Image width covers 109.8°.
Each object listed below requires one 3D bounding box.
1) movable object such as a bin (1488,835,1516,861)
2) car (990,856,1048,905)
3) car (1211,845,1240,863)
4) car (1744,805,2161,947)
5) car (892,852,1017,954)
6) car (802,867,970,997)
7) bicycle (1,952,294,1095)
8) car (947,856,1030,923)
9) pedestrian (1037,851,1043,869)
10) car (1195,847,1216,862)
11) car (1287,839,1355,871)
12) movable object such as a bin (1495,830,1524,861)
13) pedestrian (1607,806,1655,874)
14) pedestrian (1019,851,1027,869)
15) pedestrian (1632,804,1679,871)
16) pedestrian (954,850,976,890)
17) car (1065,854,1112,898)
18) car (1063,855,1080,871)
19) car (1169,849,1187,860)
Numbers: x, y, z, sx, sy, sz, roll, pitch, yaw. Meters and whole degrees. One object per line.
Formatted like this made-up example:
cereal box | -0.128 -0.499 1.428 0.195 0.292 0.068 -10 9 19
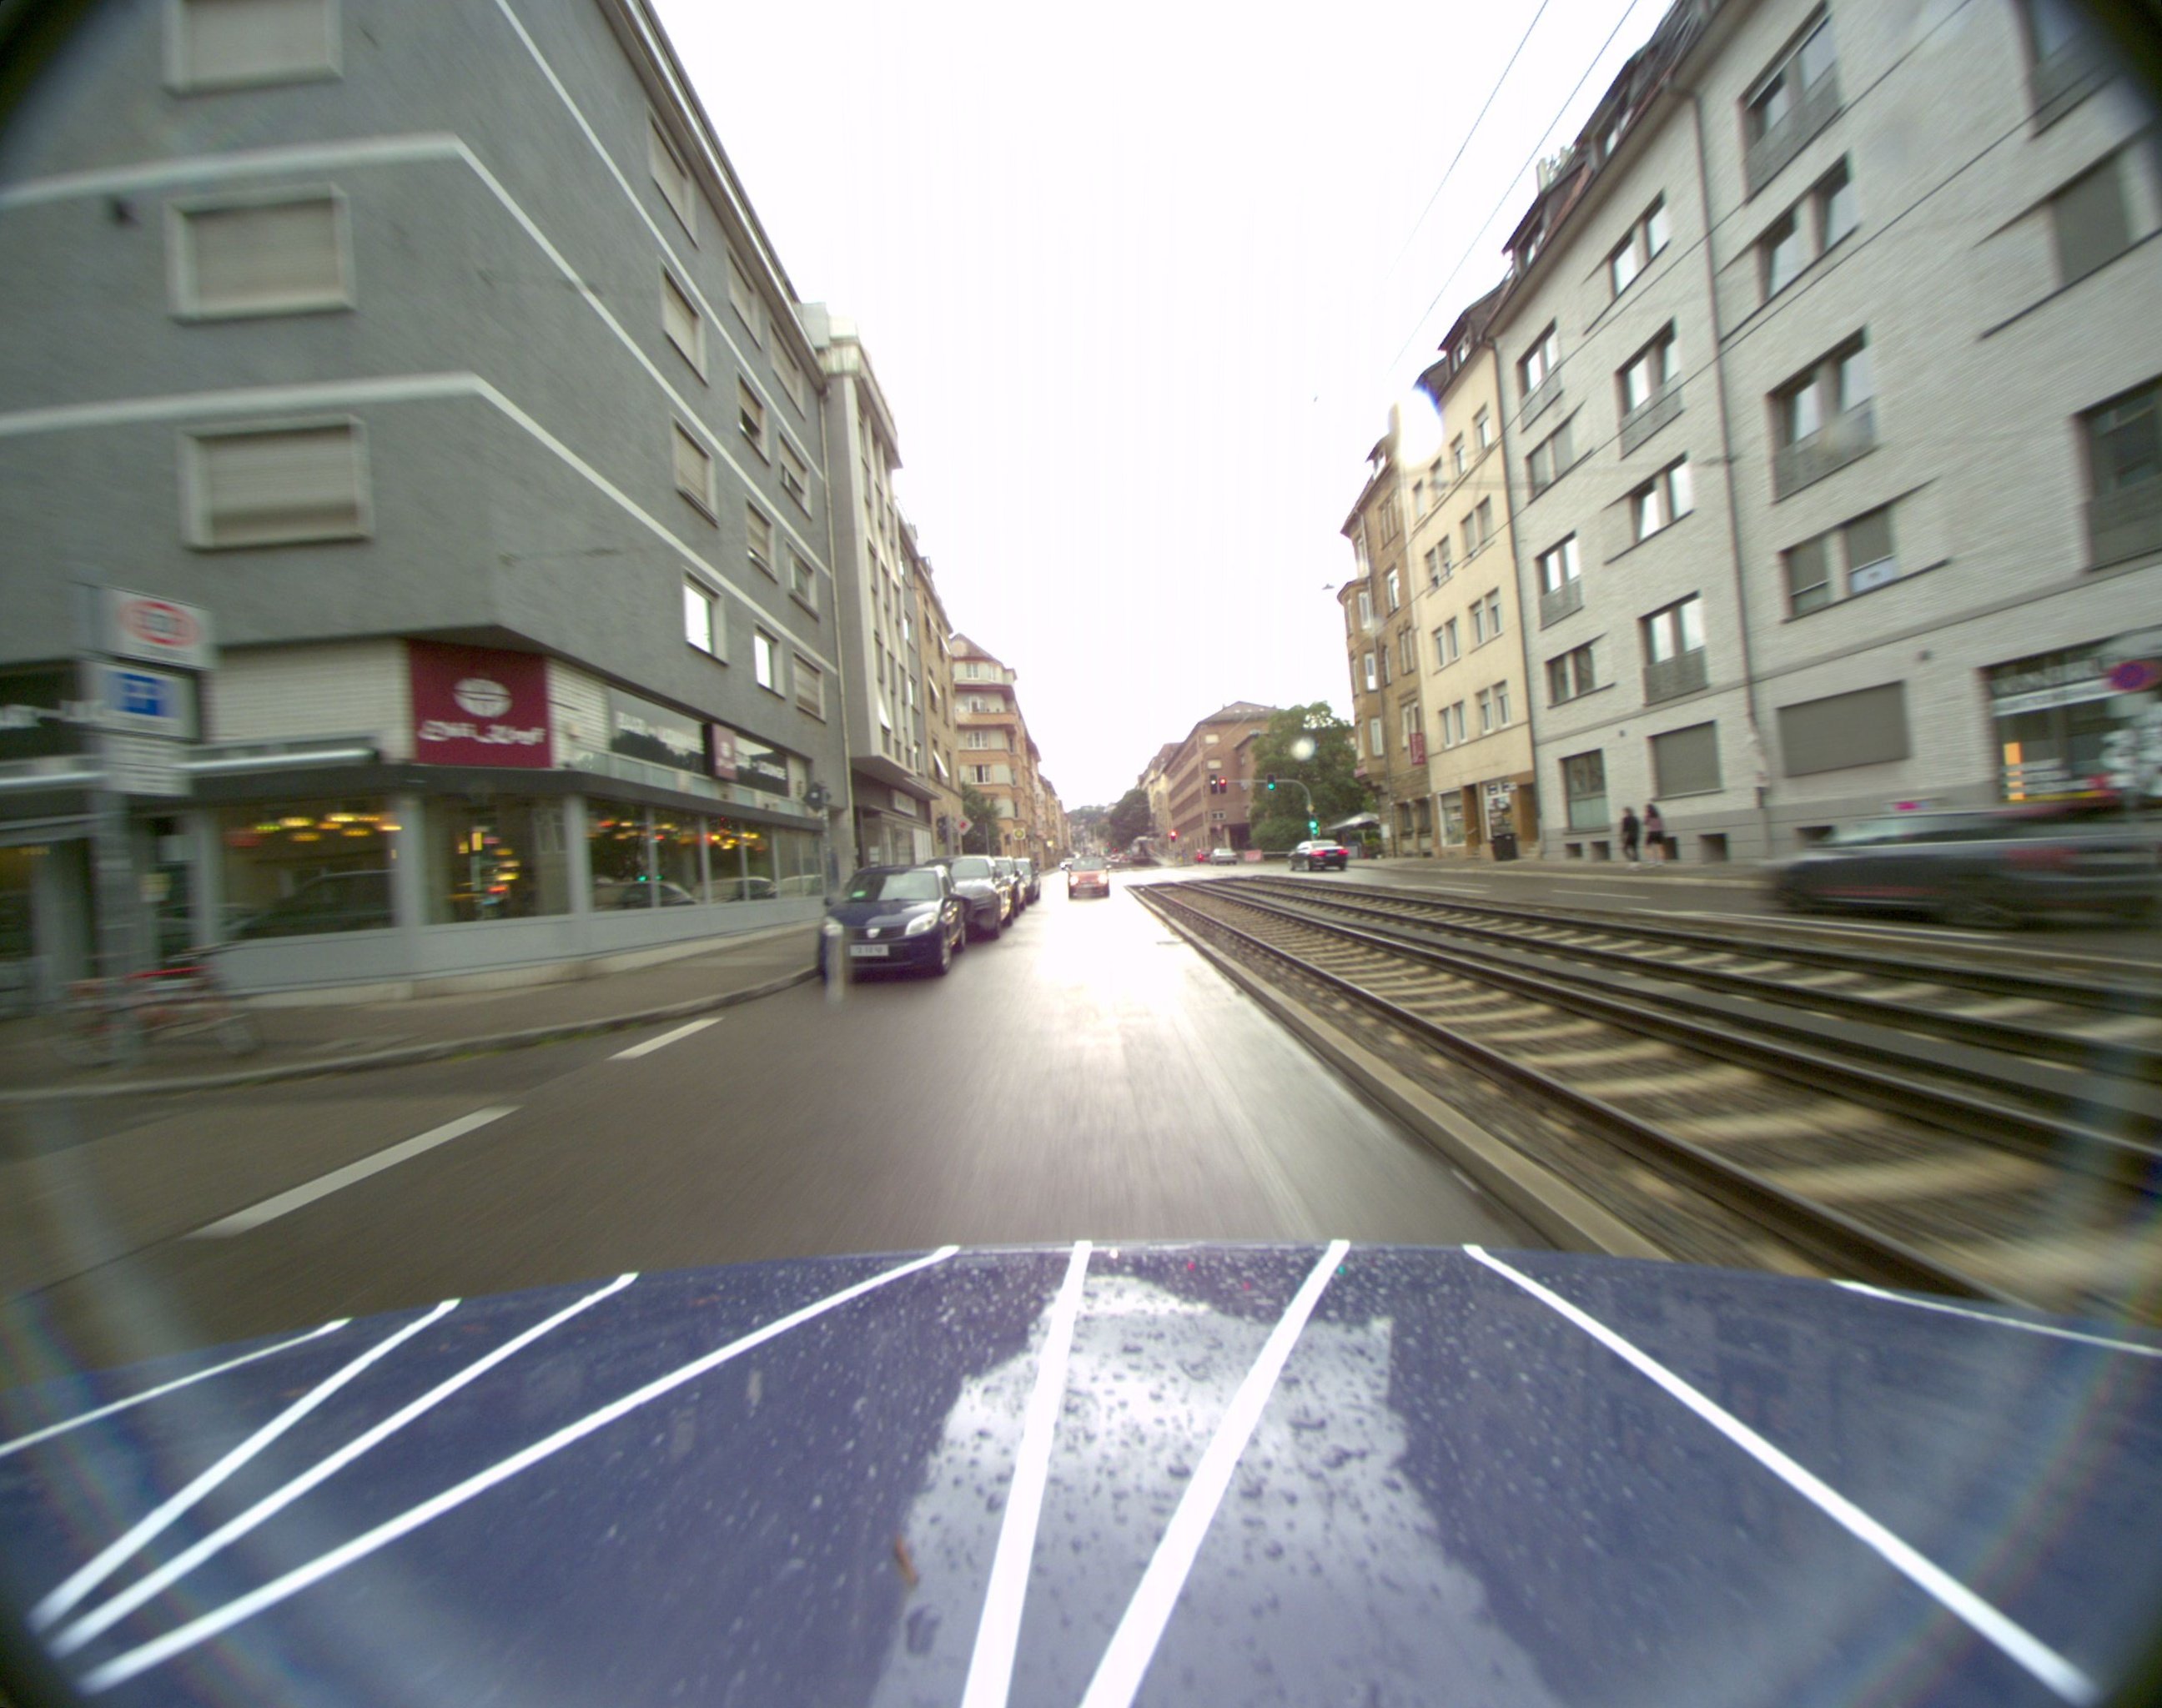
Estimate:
movable object such as a bin | 16.187 -0.225 29.213 0.631 0.922 0.563 -8 1 0
car | -2.214 0.906 28.102 1.715 1.604 4.518 -2 0 0
car | 12.707 0.008 66.918 1.717 1.452 4.643 -4 0 1
car | 10.860 0.205 9.624 1.708 1.379 3.782 -3 0 3
car | -2.507 0.900 16.190 1.797 1.750 4.565 -4 0 0
car | -2.709 1.002 11.420 1.696 1.474 3.928 -2 0 -4
bicycle | -7.740 1.395 6.340 1.753 0.967 0.533 -4 1 2
car | -2.549 0.933 21.962 1.822 1.645 4.250 -2 0 0
pedestrian | -3.878 0.542 71.644 0.437 1.642 0.579 -4 1 -1
car | 12.862 0.065 78.591 1.631 1.442 3.387 -4 0 1
car | 12.107 0.031 38.697 2.093 1.449 4.860 -3 0 2
movable object such as a bin | 16.091 -0.311 28.537 0.631 1.074 0.563 -8 1 0
pedestrian | 14.690 -0.370 20.311 0.603 1.708 0.746 -7 1 3
pedestrian | -5.147 0.515 67.839 0.579 1.563 0.438 -4 1 0
pedestrian | 15.317 -0.442 20.268 0.603 1.708 0.658 -7 1 3
pedestrian | -5.406 0.726 35.444 0.852 1.807 0.847 -2 1 1
car | 0.299 0.818 30.488 1.683 1.531 4.018 -3 0 0
car | -1.285 1.156 104.765 2.135 2.002 4.328 -4 0 1
car | 12.801 0.019 100.144 1.781 1.328 3.945 -4 0 1
